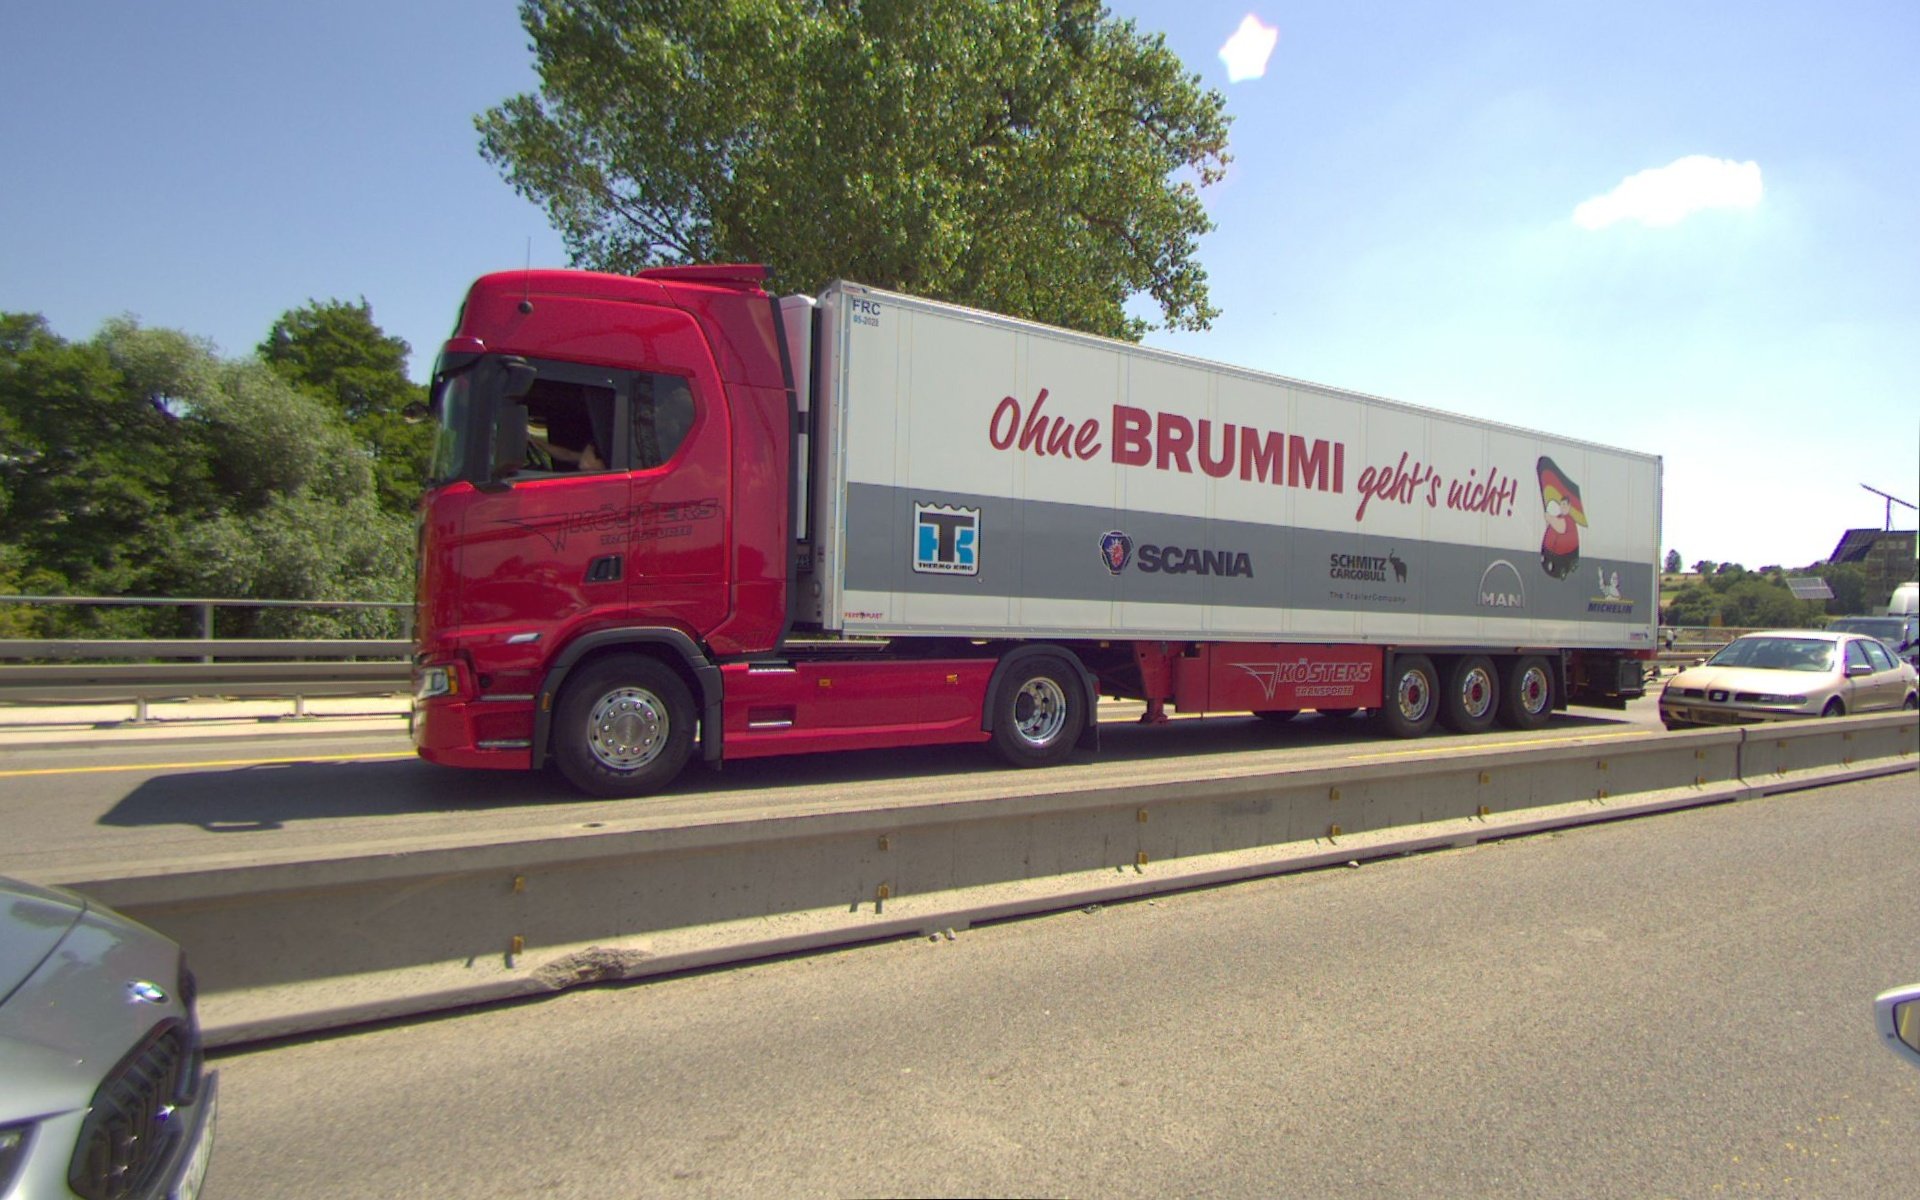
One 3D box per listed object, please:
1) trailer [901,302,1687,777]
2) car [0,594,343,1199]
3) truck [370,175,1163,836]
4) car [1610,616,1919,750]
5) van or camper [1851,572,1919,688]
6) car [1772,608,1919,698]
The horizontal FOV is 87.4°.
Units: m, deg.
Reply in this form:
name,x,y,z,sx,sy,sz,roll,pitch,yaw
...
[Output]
name,x,y,z,sx,sy,sz,roll,pitch,yaw
trailer,5.064,-0.476,13.156,11.661,4.232,2.792,1,0,-31
car,-3.278,0.692,0.790,4.687,1.471,1.842,1,0,-31
truck,-1.570,-0.552,9.100,6.447,4.091,2.802,1,0,-31
car,10.536,0.986,13.017,4.145,1.480,1.892,1,-2,-31
van or camper,24.927,0.761,25.048,5.180,2.734,2.493,1,0,-29
car,19.684,1.100,21.690,4.734,1.757,1.759,1,0,-30
